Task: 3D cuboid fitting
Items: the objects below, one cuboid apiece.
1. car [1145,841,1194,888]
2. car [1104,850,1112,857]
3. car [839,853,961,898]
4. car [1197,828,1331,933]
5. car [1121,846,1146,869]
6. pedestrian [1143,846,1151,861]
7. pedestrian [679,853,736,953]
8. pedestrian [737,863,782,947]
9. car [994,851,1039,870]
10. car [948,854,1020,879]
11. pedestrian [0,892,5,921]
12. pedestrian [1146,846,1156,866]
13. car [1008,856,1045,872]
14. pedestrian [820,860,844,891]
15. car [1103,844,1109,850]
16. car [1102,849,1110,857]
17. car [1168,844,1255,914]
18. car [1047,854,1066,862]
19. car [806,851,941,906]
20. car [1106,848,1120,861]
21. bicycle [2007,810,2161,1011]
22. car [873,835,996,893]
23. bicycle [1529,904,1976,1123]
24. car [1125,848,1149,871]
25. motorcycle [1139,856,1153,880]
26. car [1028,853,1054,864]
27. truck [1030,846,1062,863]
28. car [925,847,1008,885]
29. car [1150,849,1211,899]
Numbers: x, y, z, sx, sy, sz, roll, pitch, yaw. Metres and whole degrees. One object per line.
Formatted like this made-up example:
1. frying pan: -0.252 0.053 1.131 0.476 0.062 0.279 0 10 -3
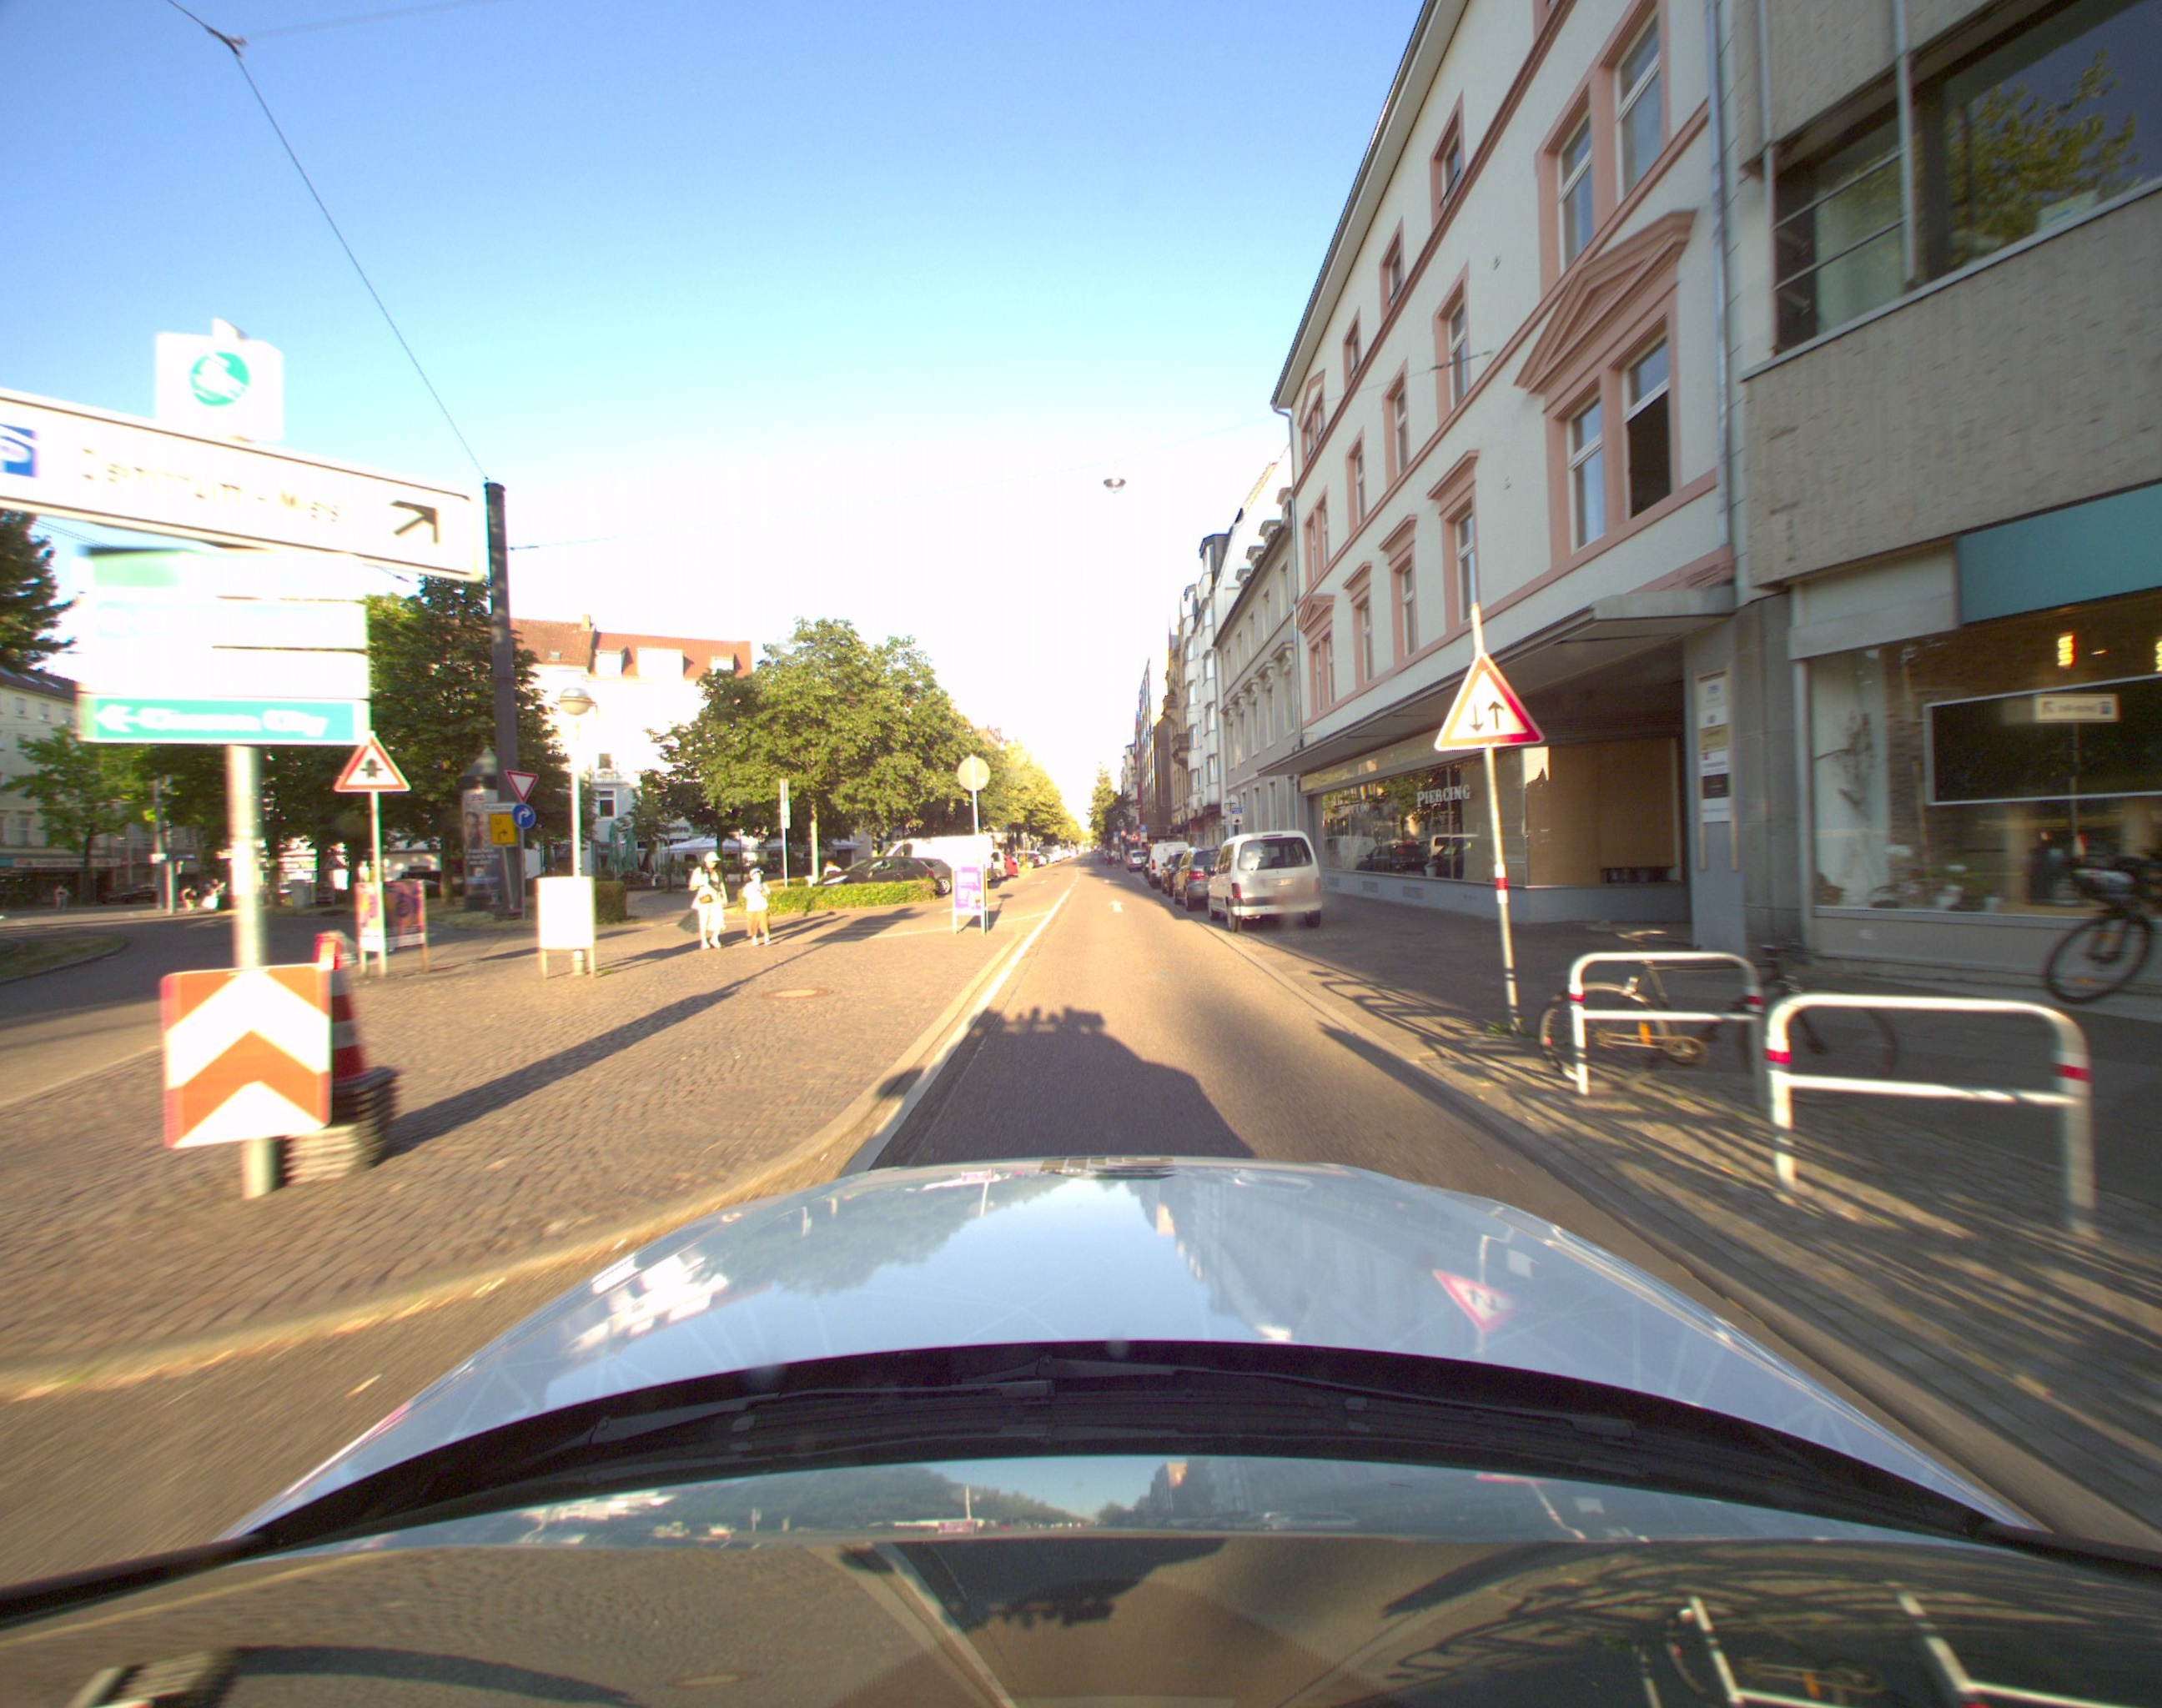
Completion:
1. car: 3.675 0.383 34.391 1.703 1.835 4.308 -1 1 2
2. car: 4.567 -0.082 139.553 1.203 1.300 2.659 -1 0 -2
3. car: -6.690 0.757 30.263 4.020 1.486 1.812 -2 1 -39
4. car: 3.508 0.462 16.342 1.786 1.791 4.092 -2 0 1
5. car: 4.227 0.238 65.570 1.691 1.769 4.000 -2 1 0
6. pedestrian: 7.439 -0.080 92.217 0.763 1.689 0.785 -3 0 -2
7. pedestrian: -6.115 0.769 13.341 0.703 1.559 0.687 -1 0 -36
8. pedestrian: -5.507 0.851 13.943 0.567 1.364 0.607 -1 0 -36
9. car: -6.654 0.626 83.987 4.434 1.835 2.034 -1 1 0
10. car: -6.041 0.750 50.851 4.010 1.486 1.982 -1 0 -29
11. pedestrian: -72.160 3.527 53.795 0.894 1.921 0.873 -2 2 -23
12. pedestrian: 5.958 0.170 69.252 0.752 1.640 1.259 -1 0 0
13. car: -6.024 1.133 90.953 3.977 1.708 1.833 -1 1 0
14. pedestrian: -10.426 0.889 34.097 0.752 1.277 0.654 -1 1 -37
15. car: 6.433 -1.858 210.193 1.305 1.600 2.659 -1 0 -2
16. car: 4.112 -0.136 134.199 1.203 1.300 2.659 -1 0 -2
17. car: 3.383 0.594 21.803 1.651 1.665 4.108 -1 0 0
18. car: -4.916 0.778 163.107 3.727 1.493 2.000 -1 0 0
19. car: -6.812 0.739 26.853 3.904 1.582 1.782 -2 1 -39
20. car: 4.222 0.062 107.479 1.572 1.542 3.394 -4 0 -2
21. bicycle: 7.189 0.336 5.161 0.417 1.276 1.644 -2 -3 -42
22. car: -6.097 0.356 33.900 4.622 2.251 2.184 -1 0 -26
23. bicycle: 3.537 0.840 4.484 1.772 0.989 0.545 -4 2 23
24. car: 4.139 0.367 60.609 1.673 1.561 4.004 -3 1 3
25. motorcycle: 3.488 0.756 43.702 0.586 1.200 2.210 -1 1 0
26. car: -5.793 0.681 118.959 3.727 1.596 2.000 -1 0 0
27. truck: -5.539 0.111 130.172 4.925 2.615 2.000 -1 0 0
28. car: -6.180 0.625 44.100 4.017 1.878 1.851 -1 1 -35
29. car: 3.360 0.622 28.125 1.661 1.544 3.883 -1 1 1
